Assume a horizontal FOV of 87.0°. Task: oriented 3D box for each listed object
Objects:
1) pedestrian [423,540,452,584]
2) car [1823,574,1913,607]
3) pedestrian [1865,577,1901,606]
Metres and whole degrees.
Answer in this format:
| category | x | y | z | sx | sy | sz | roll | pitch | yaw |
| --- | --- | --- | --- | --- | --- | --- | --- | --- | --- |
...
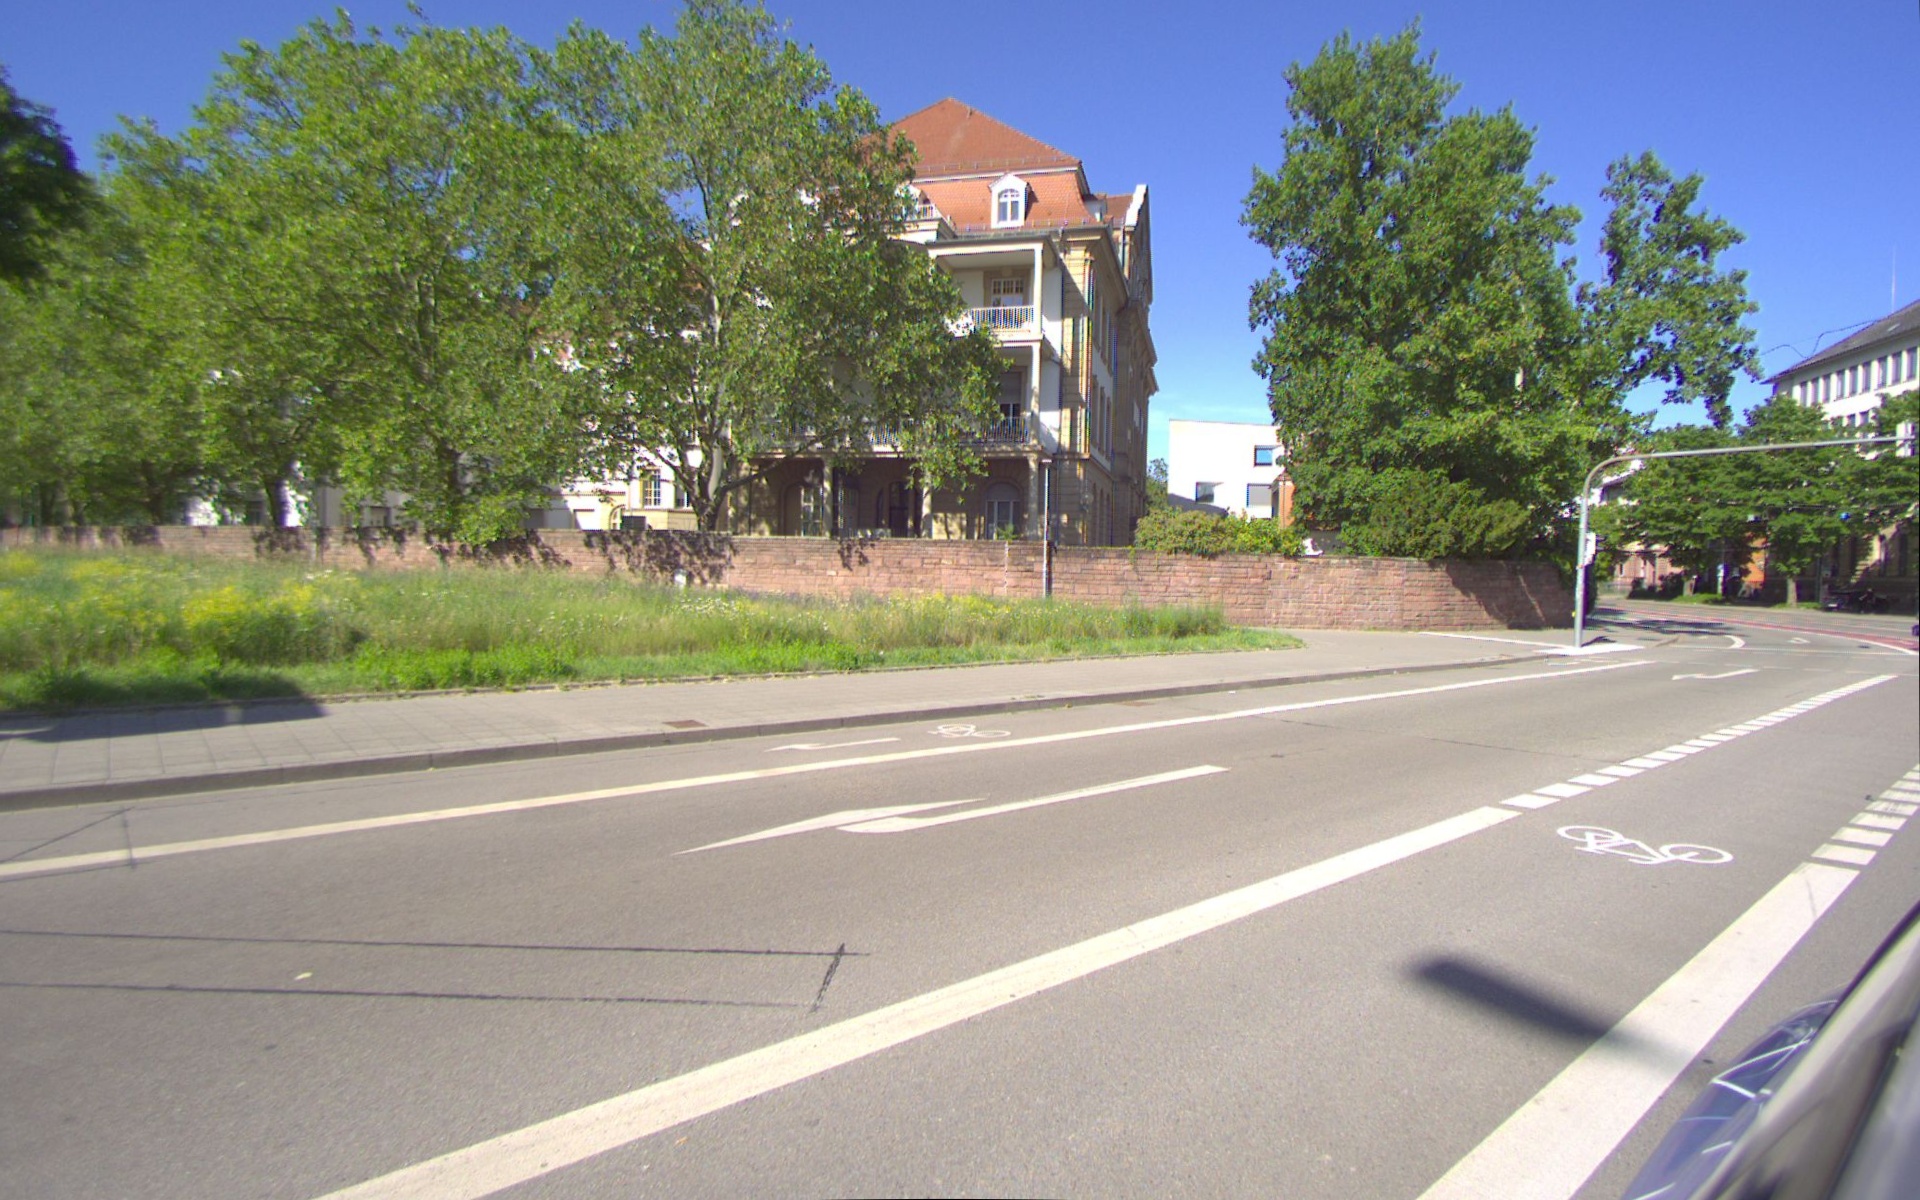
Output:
| category | x | y | z | sx | sy | sz | roll | pitch | yaw |
| --- | --- | --- | --- | --- | --- | --- | --- | --- | --- |
| pedestrian | -17.834 | -1.282 | 34.550 | 0.516 | 1.461 | 0.721 | 0 | 0 | 20 |
| car | 61.210 | -0.651 | 68.250 | 4.615 | 2.038 | 2.004 | 1 | 2 | -9 |
| pedestrian | 59.690 | -0.576 | 65.451 | 1.366 | 1.844 | 0.937 | 1 | 1 | 4 |
